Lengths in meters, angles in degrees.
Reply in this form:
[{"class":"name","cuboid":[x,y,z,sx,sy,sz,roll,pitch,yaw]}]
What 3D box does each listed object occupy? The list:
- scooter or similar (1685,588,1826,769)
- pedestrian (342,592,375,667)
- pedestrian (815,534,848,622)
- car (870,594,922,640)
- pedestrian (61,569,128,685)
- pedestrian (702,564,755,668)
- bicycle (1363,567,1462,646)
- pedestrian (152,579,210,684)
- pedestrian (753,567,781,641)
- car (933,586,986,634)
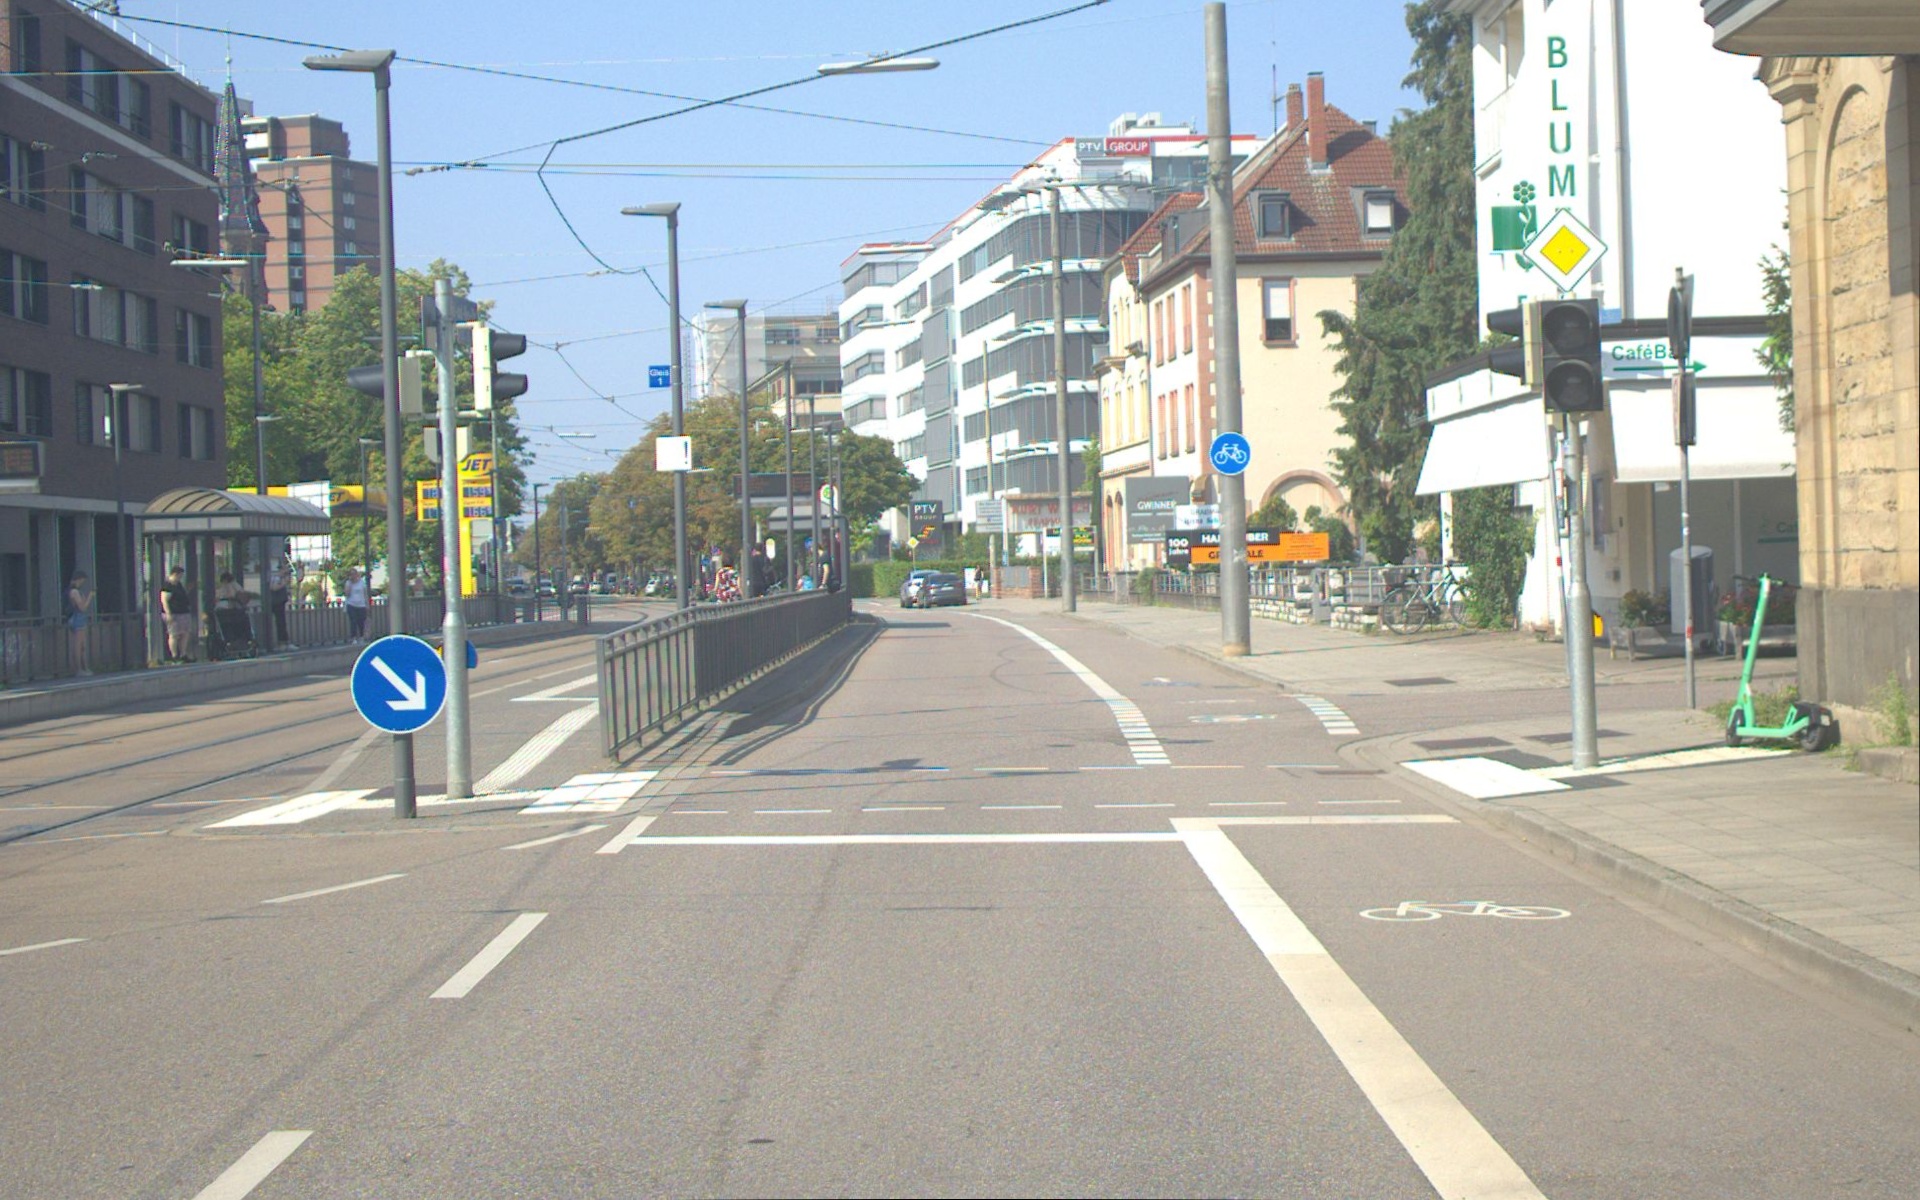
[{"class":"scooter or similar","cuboid":[5.238,0.500,22.709,0.523,1.130,1.511,-3,0,0]},{"class":"pedestrian","cuboid":[-12.502,0.606,71.483,0.532,1.525,0.702,-3,0,-6]},{"class":"pedestrian","cuboid":[-2.539,-0.437,67.931,0.536,1.697,0.582,-3,0,-2]},{"class":"car","cuboid":[-2.751,0.740,149.722,2.011,1.852,4.000,-3,0,1]},{"class":"pedestrian","cuboid":[-13.201,0.403,52.456,0.708,1.717,0.799,-3,0,1]},{"class":"pedestrian","cuboid":[-3.884,0.268,57.703,0.720,1.697,0.884,-3,0,1]},{"class":"bicycle","cuboid":[6.989,0.108,53.268,0.731,1.129,2.840,-5,0,-7]},{"class":"pedestrian","cuboid":[-13.379,0.536,59.042,0.708,1.741,0.799,-3,0,1]},{"class":"pedestrian","cuboid":[-4.509,0.091,80.446,0.536,1.697,0.582,-3,0,-2]},{"class":"car","cuboid":[-0.003,0.404,143.606,2.011,1.852,4.000,-3,0,1]}]
